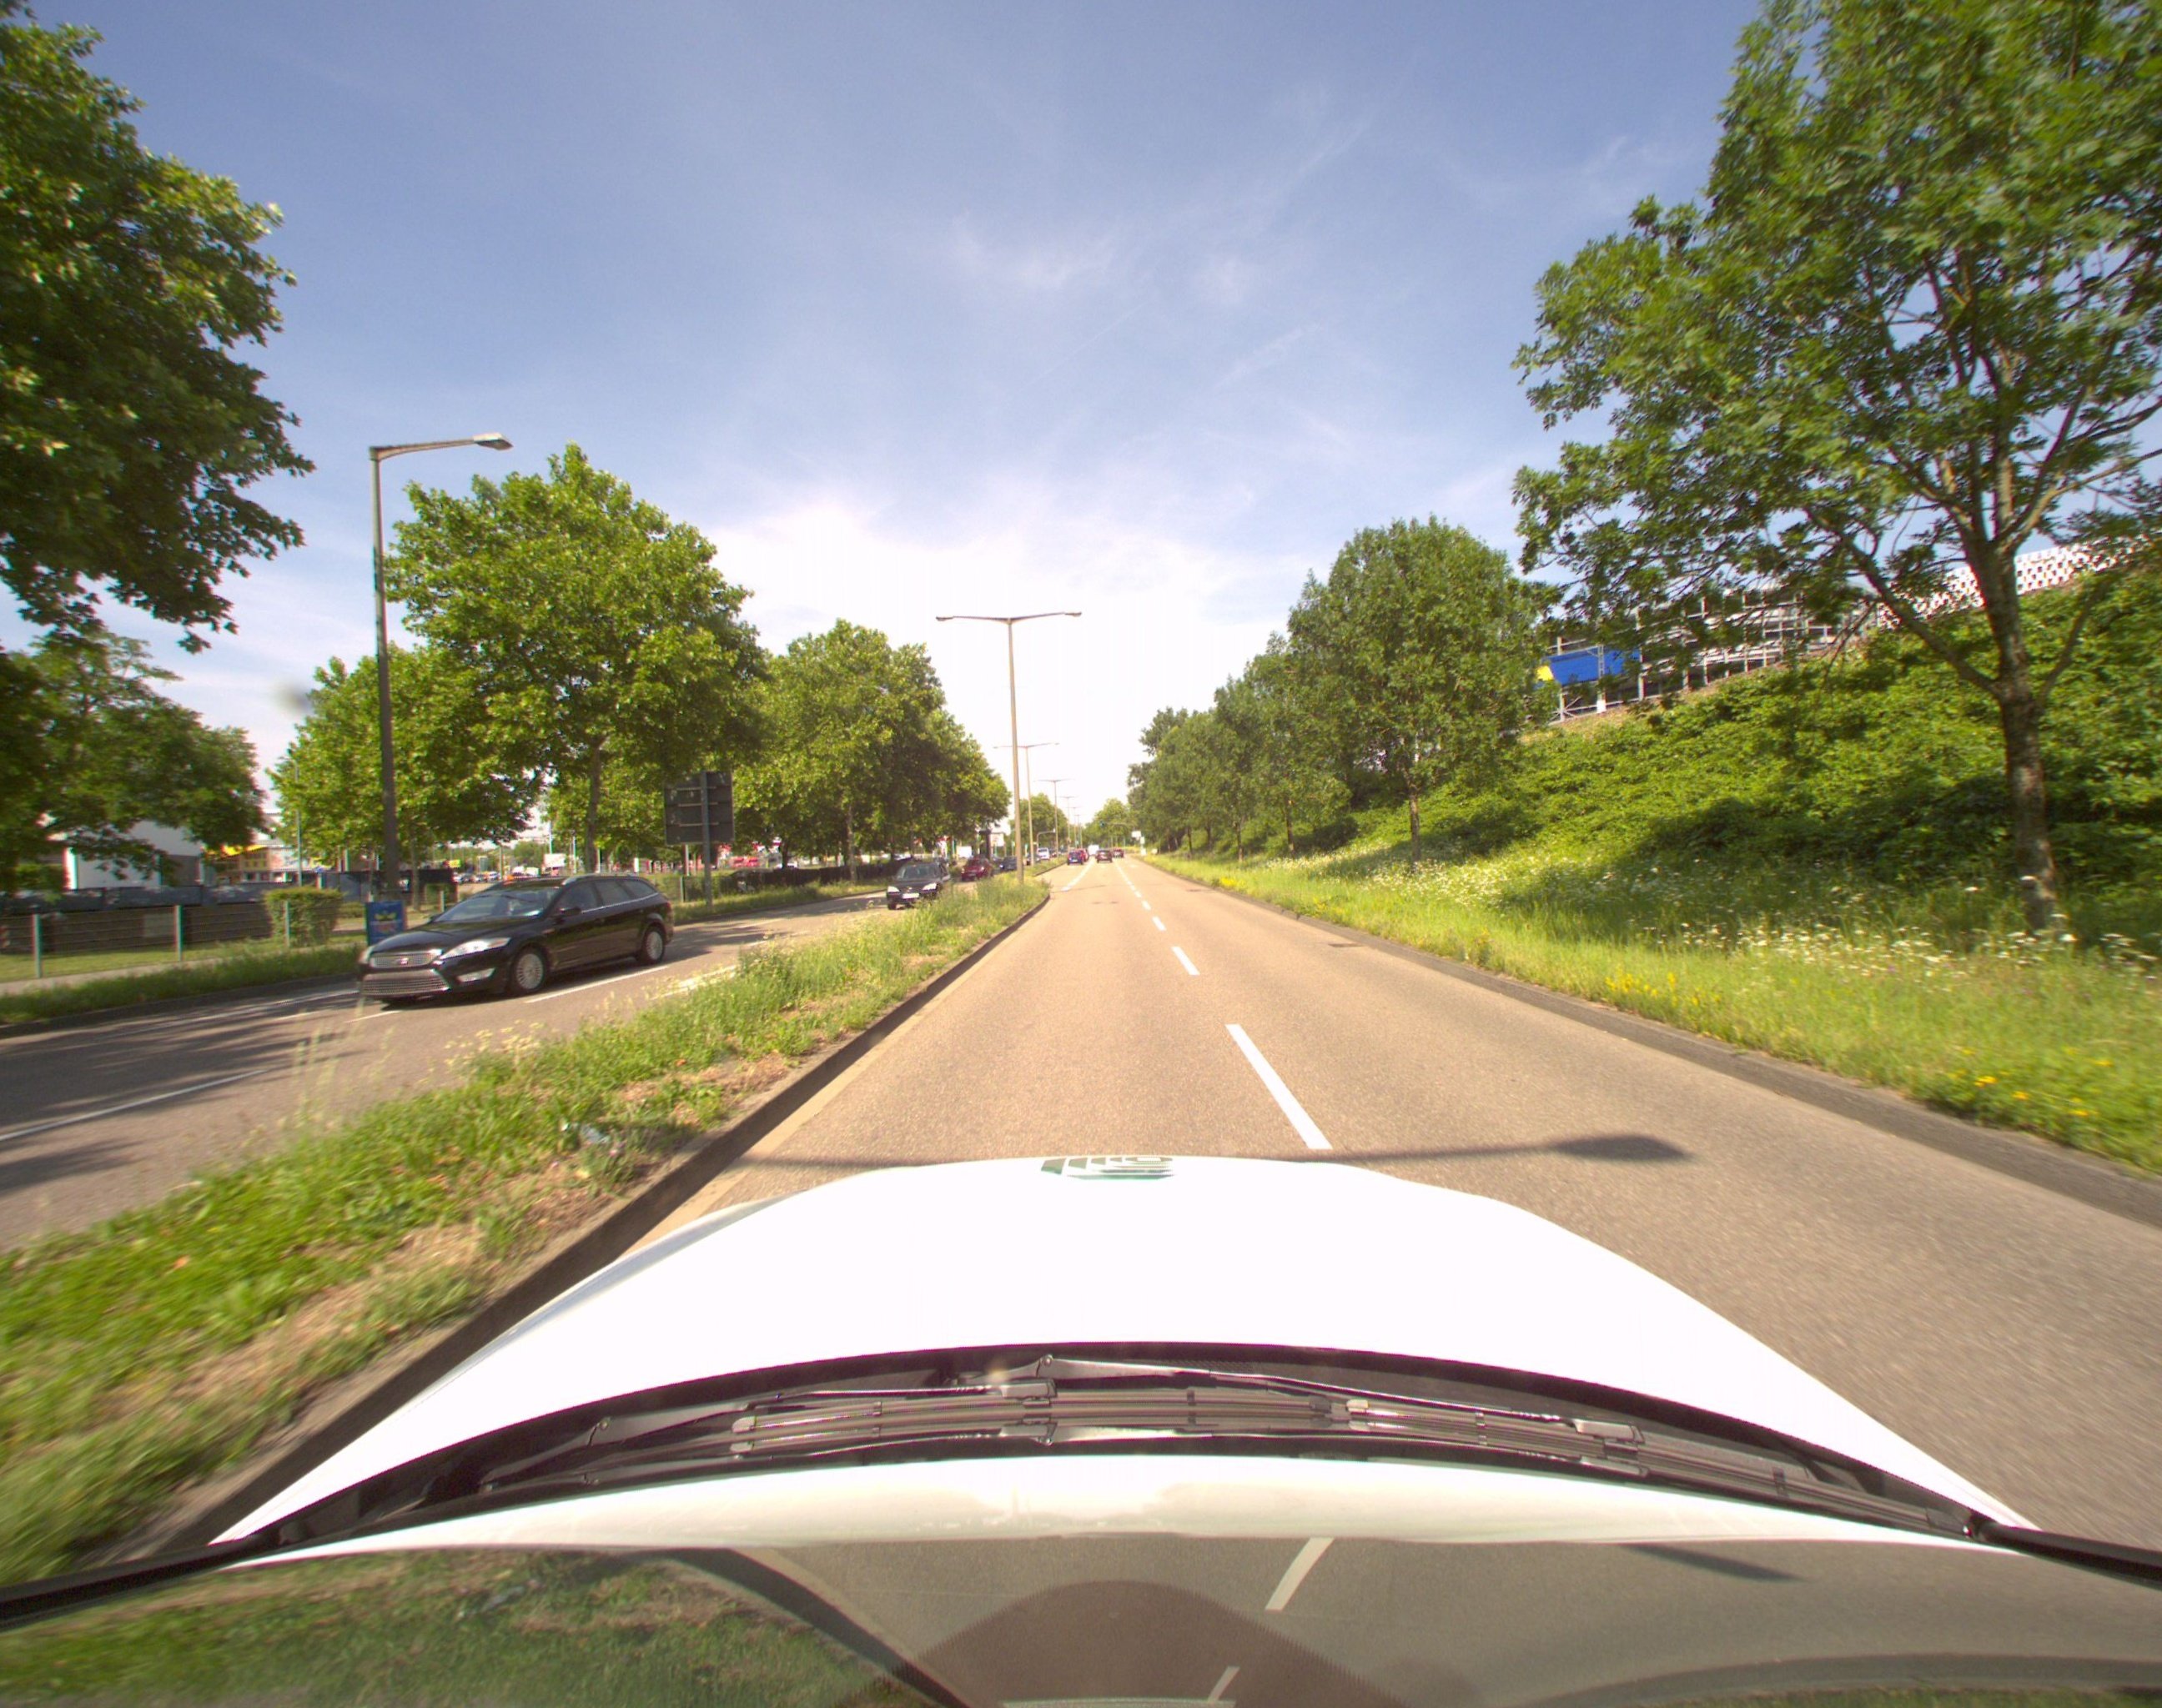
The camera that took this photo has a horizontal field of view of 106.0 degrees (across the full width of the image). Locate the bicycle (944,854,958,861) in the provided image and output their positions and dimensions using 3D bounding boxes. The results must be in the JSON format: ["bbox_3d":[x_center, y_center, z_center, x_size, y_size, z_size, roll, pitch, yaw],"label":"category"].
[{"bbox_3d":[-20.165,0.534,126.234,1.962,0.983,0.781,-3,3,-35],"label":"bicycle"}]

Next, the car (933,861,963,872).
[{"bbox_3d":[-19.026,1.739,116.624,3.949,1.388,1.776,-2,1,28],"label":"car"}]

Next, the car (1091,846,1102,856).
[{"bbox_3d":[2.865,-0.613,151.172,1.986,1.708,4.265,-3,0,2],"label":"car"}]

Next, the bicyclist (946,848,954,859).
[{"bbox_3d":[-20.251,-0.102,126.160,0.904,1.715,0.774,-3,3,-35],"label":"bicyclist"}]

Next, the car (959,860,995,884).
[{"bbox_3d":[-7.208,1.217,56.640,1.756,1.462,4.002,-4,0,2],"label":"car"}]

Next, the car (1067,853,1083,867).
[{"bbox_3d":[-0.653,0.612,88.150,1.620,1.483,4.049,-1,0,1],"label":"car"}]

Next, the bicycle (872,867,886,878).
[{"bbox_3d":[-18.360,1.661,74.128,0.687,0.866,1.927,-3,0,2],"label":"bicycle"}]

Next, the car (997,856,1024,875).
[{"bbox_3d":[-6.131,0.976,70.971,1.833,1.478,4.167,-3,0,1],"label":"car"}]

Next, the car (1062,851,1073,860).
[{"bbox_3d":[-2.966,0.357,177.849,1.985,1.775,4.004,-3,0,4],"label":"car"}]

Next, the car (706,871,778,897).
[{"bbox_3d":[-22.756,2.001,54.760,3.971,1.464,1.773,-3,0,2],"label":"car"}]

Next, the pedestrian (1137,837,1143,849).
[{"bbox_3d":[9.938,-1.790,136.987,0.835,1.932,0.771,-2,2,-2],"label":"pedestrian"}]

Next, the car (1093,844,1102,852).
[{"bbox_3d":[4.163,-1.515,203.137,1.988,2.013,3.997,-2,0,-2],"label":"car"}]

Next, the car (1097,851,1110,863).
[{"bbox_3d":[3.508,0.526,128.592,1.986,1.744,4.267,-3,0,2],"label":"car"}]

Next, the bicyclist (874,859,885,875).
[{"bbox_3d":[-18.376,1.175,74.269,0.679,1.485,0.942,-3,0,1],"label":"bicyclist"}]

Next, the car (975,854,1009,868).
[{"bbox_3d":[-12.357,0.985,112.744,4.343,1.750,1.881,-3,0,31],"label":"car"}]

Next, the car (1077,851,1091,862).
[{"bbox_3d":[0.469,0.386,123.220,1.875,1.618,4.213,-2,0,1],"label":"car"}]

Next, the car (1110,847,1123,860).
[{"bbox_3d":[5.667,-0.150,129.806,2.010,1.837,4.003,-2,2,2],"label":"car"}]

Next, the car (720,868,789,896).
[{"bbox_3d":[-23.210,2.006,57.977,3.968,1.823,2.159,-2,-1,5],"label":"car"}]

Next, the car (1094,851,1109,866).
[{"bbox_3d":[2.487,0.523,97.813,1.730,1.535,4.003,-2,2,2],"label":"car"}]

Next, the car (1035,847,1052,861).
[{"bbox_3d":[-5.640,0.007,123.563,2.110,1.883,5.419,-3,0,0],"label":"car"}]

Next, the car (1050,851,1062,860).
[{"bbox_3d":[-4.873,0.330,158.581,1.986,1.530,4.684,-3,0,2],"label":"car"}]

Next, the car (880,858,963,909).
[{"bbox_3d":[-5.224,0.916,27.270,1.767,1.467,4.670,-3,0,0],"label":"car"}]

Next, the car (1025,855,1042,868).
[{"bbox_3d":[-5.725,0.860,98.733,1.762,1.469,4.284,-3,0,1],"label":"car"}]

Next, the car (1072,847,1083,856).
[{"bbox_3d":[-0.734,-0.496,171.074,1.985,1.859,4.003,-3,0,3],"label":"car"}]

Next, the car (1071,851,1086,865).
[{"bbox_3d":[-0.247,0.498,103.264,1.776,1.593,4.594,-1,0,1],"label":"car"}]

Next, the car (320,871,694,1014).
[{"bbox_3d":[-7.773,1.065,11.842,1.821,1.467,4.987,-3,0,0],"label":"car"}]

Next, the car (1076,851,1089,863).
[{"bbox_3d":[0.203,0.410,110.402,1.760,1.479,4.136,-1,0,1],"label":"car"}]
